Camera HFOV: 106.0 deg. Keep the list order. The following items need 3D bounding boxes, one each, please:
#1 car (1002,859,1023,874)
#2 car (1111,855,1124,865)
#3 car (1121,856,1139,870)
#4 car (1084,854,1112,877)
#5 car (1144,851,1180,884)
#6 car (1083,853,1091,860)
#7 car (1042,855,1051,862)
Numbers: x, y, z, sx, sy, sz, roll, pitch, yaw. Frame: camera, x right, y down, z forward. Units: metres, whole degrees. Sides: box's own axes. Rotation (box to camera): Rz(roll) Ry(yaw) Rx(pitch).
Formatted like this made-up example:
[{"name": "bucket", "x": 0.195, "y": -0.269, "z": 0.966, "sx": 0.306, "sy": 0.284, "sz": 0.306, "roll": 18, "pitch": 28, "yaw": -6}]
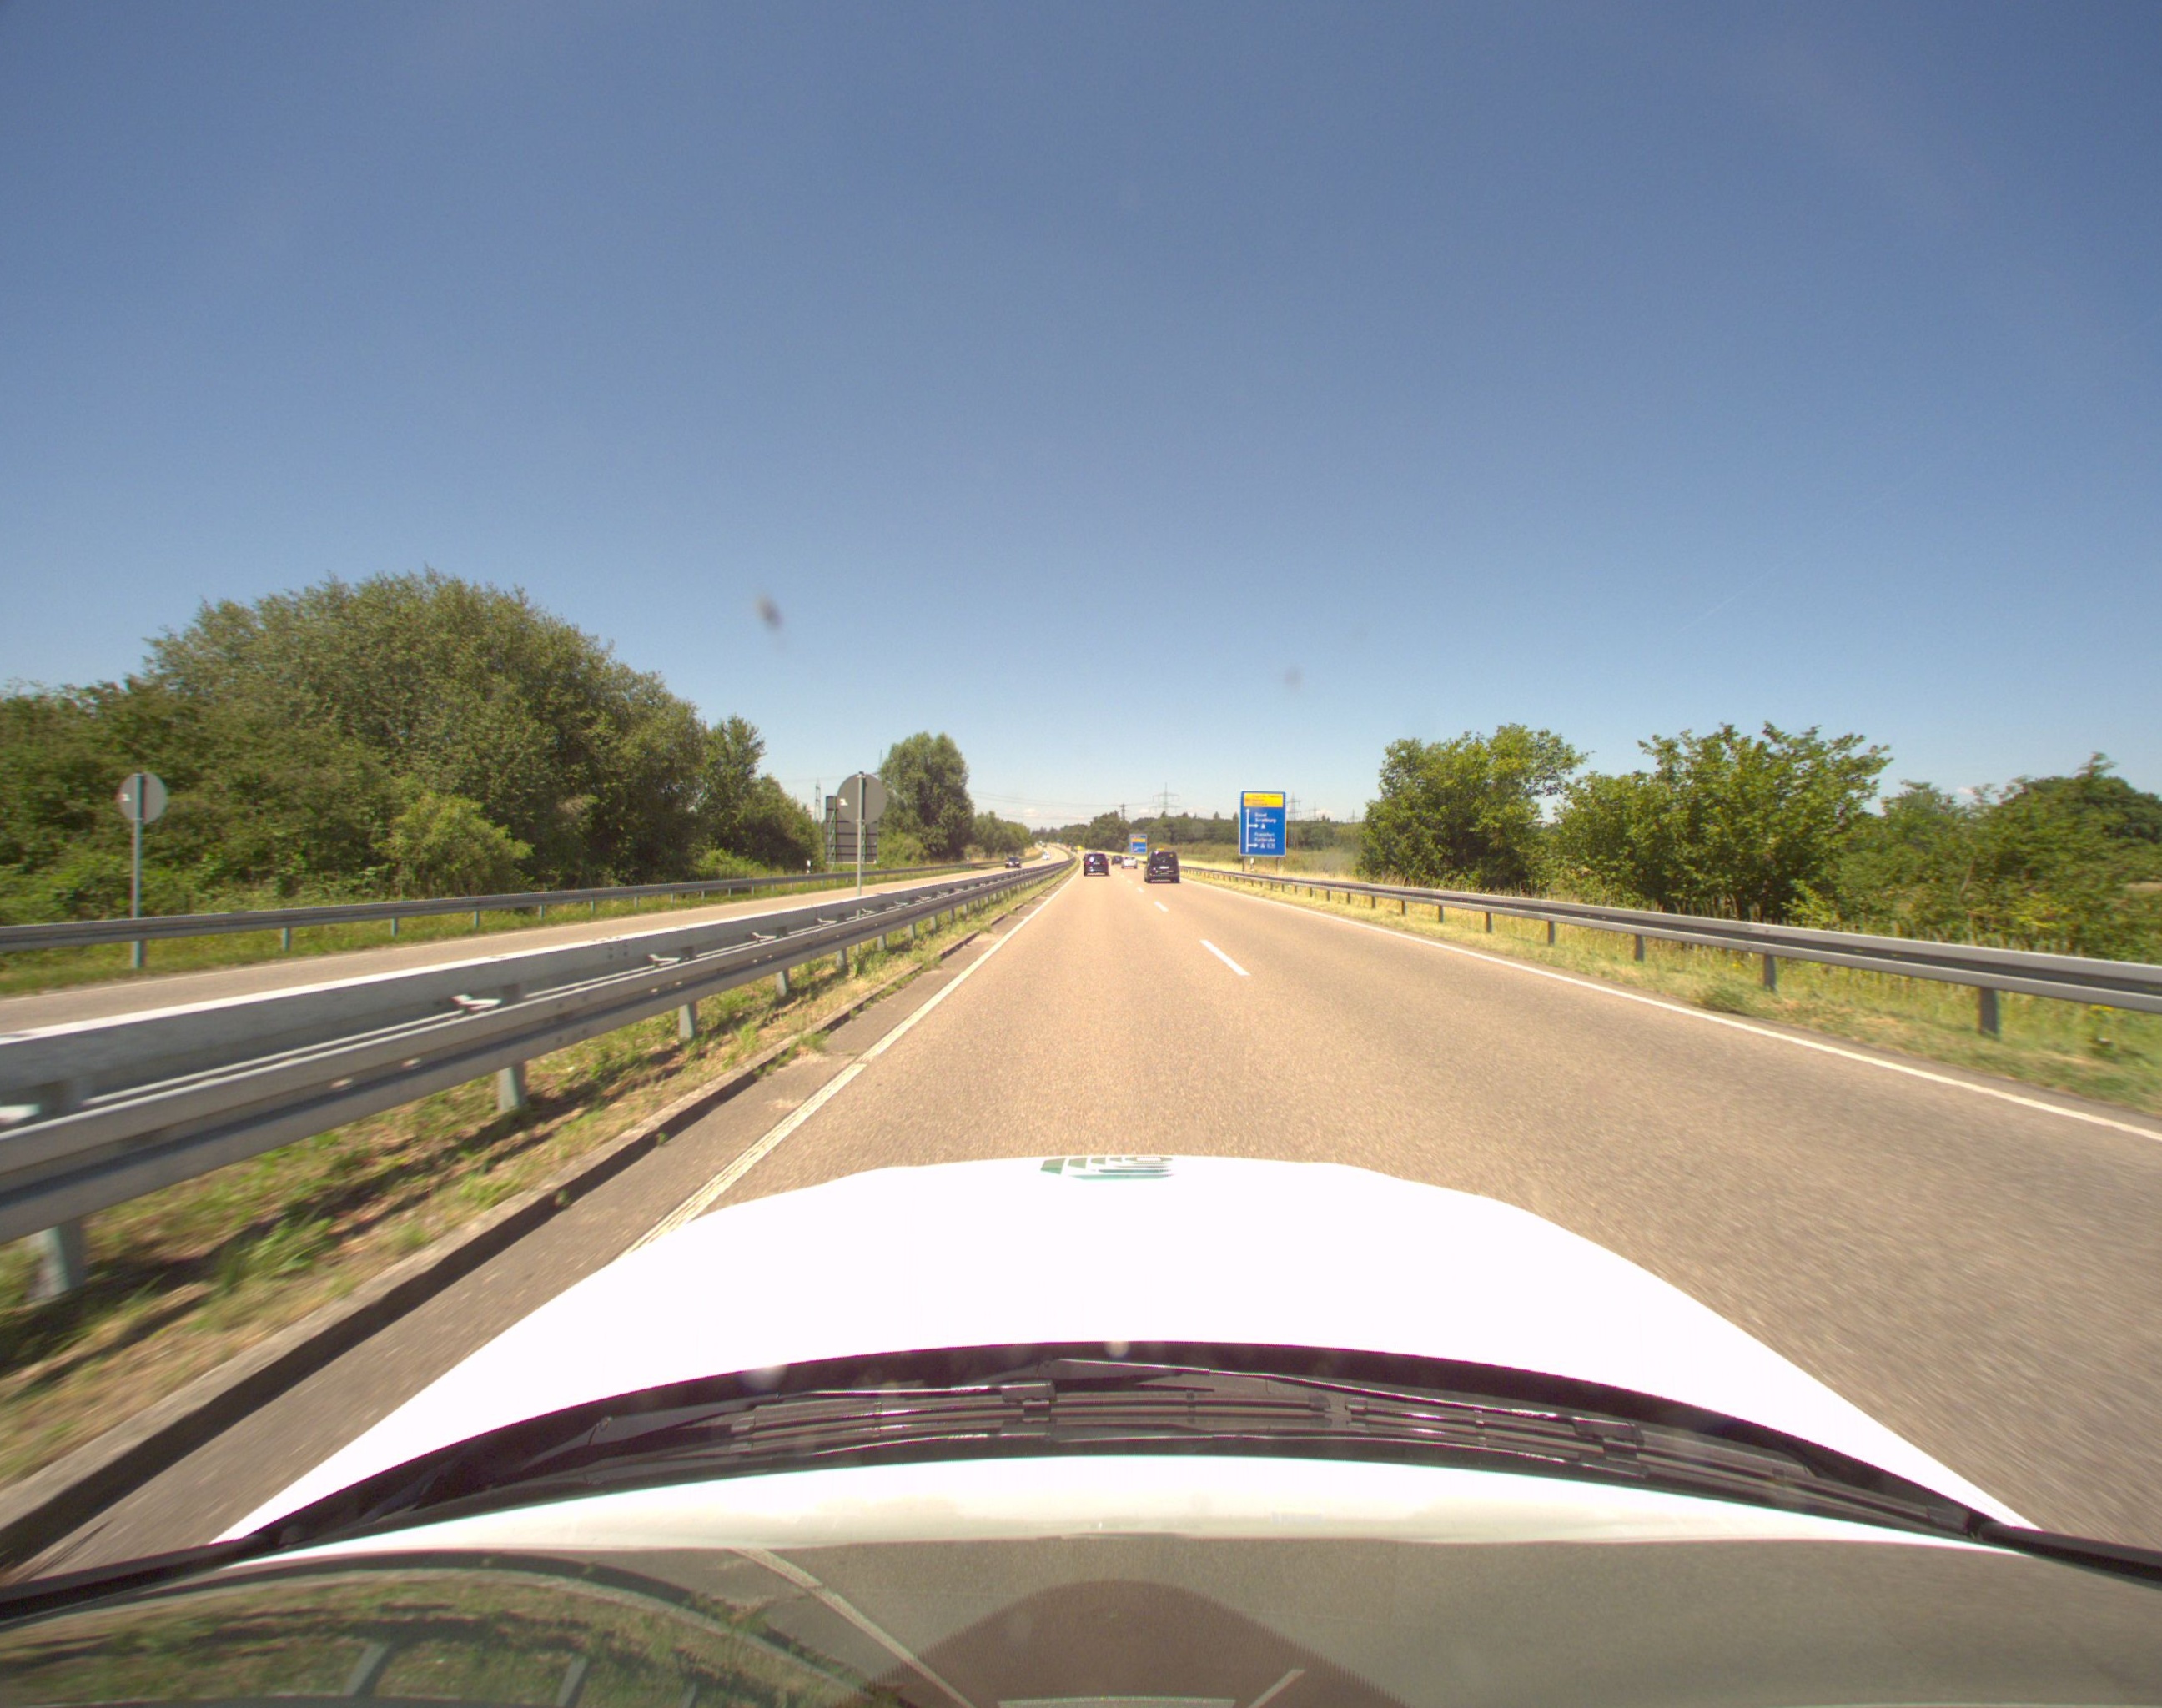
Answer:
[{"name": "car", "x": -8.463, "y": 1.539, "z": 101.251, "sx": 1.986, "sy": 1.637, "sz": 4.875, "roll": 3, "pitch": 0, "yaw": 1}, {"name": "car", "x": 5.404, "y": 0.931, "z": 120.689, "sx": 1.813, "sy": 1.414, "sz": 4.001, "roll": 0, "pitch": 0, "yaw": 1}, {"name": "car", "x": 5.522, "y": 0.997, "z": 92.207, "sx": 1.773, "sy": 1.479, "sz": 4.314, "roll": 2, "pitch": 0, "yaw": 0}, {"name": "car", "x": 1.274, "y": 0.850, "z": 62.573, "sx": 1.988, "sy": 1.654, "sz": 3.998, "roll": 2, "pitch": 0, "yaw": -1}, {"name": "car", "x": 4.561, "y": 0.748, "z": 46.442, "sx": 1.773, "sy": 1.817, "sz": 4.215, "roll": 1, "pitch": 0, "yaw": 2}, {"name": "car", "x": 1.309, "y": 0.581, "z": 180.489, "sx": 1.510, "sy": 1.475, "sz": 3.065, "roll": 3, "pitch": 0, "yaw": 0}, {"name": "car", "x": -8.314, "y": 1.055, "z": 197.338, "sx": 1.821, "sy": 1.497, "sz": 4.102, "roll": 1, "pitch": 0, "yaw": 0}]
